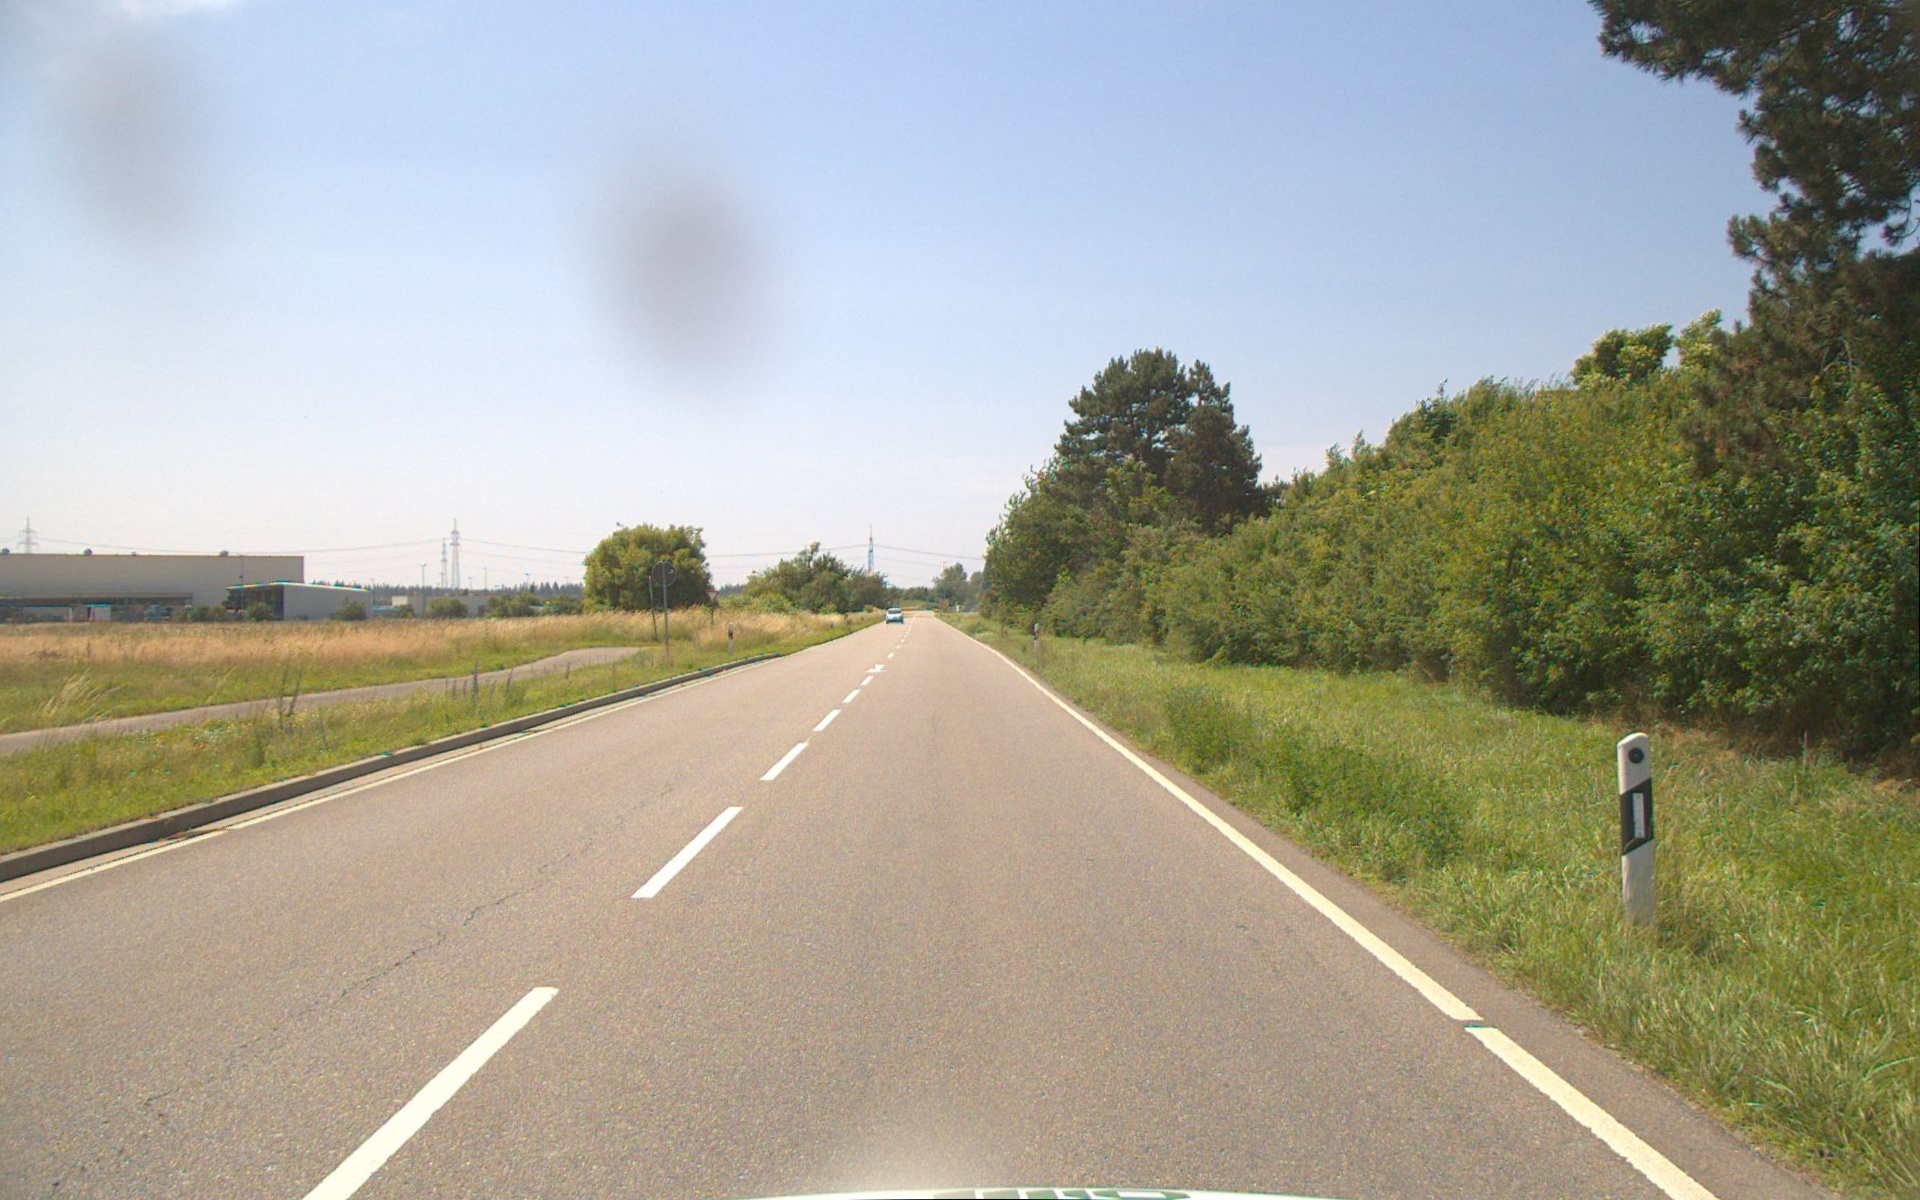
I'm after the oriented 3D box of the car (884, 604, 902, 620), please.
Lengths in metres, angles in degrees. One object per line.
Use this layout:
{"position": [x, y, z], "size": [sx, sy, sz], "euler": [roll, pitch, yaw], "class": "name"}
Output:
{"position": [-6.694, 1.183, 165.335], "size": [1.644, 1.446, 4.420], "euler": [-3, 0, -2], "class": "car"}
